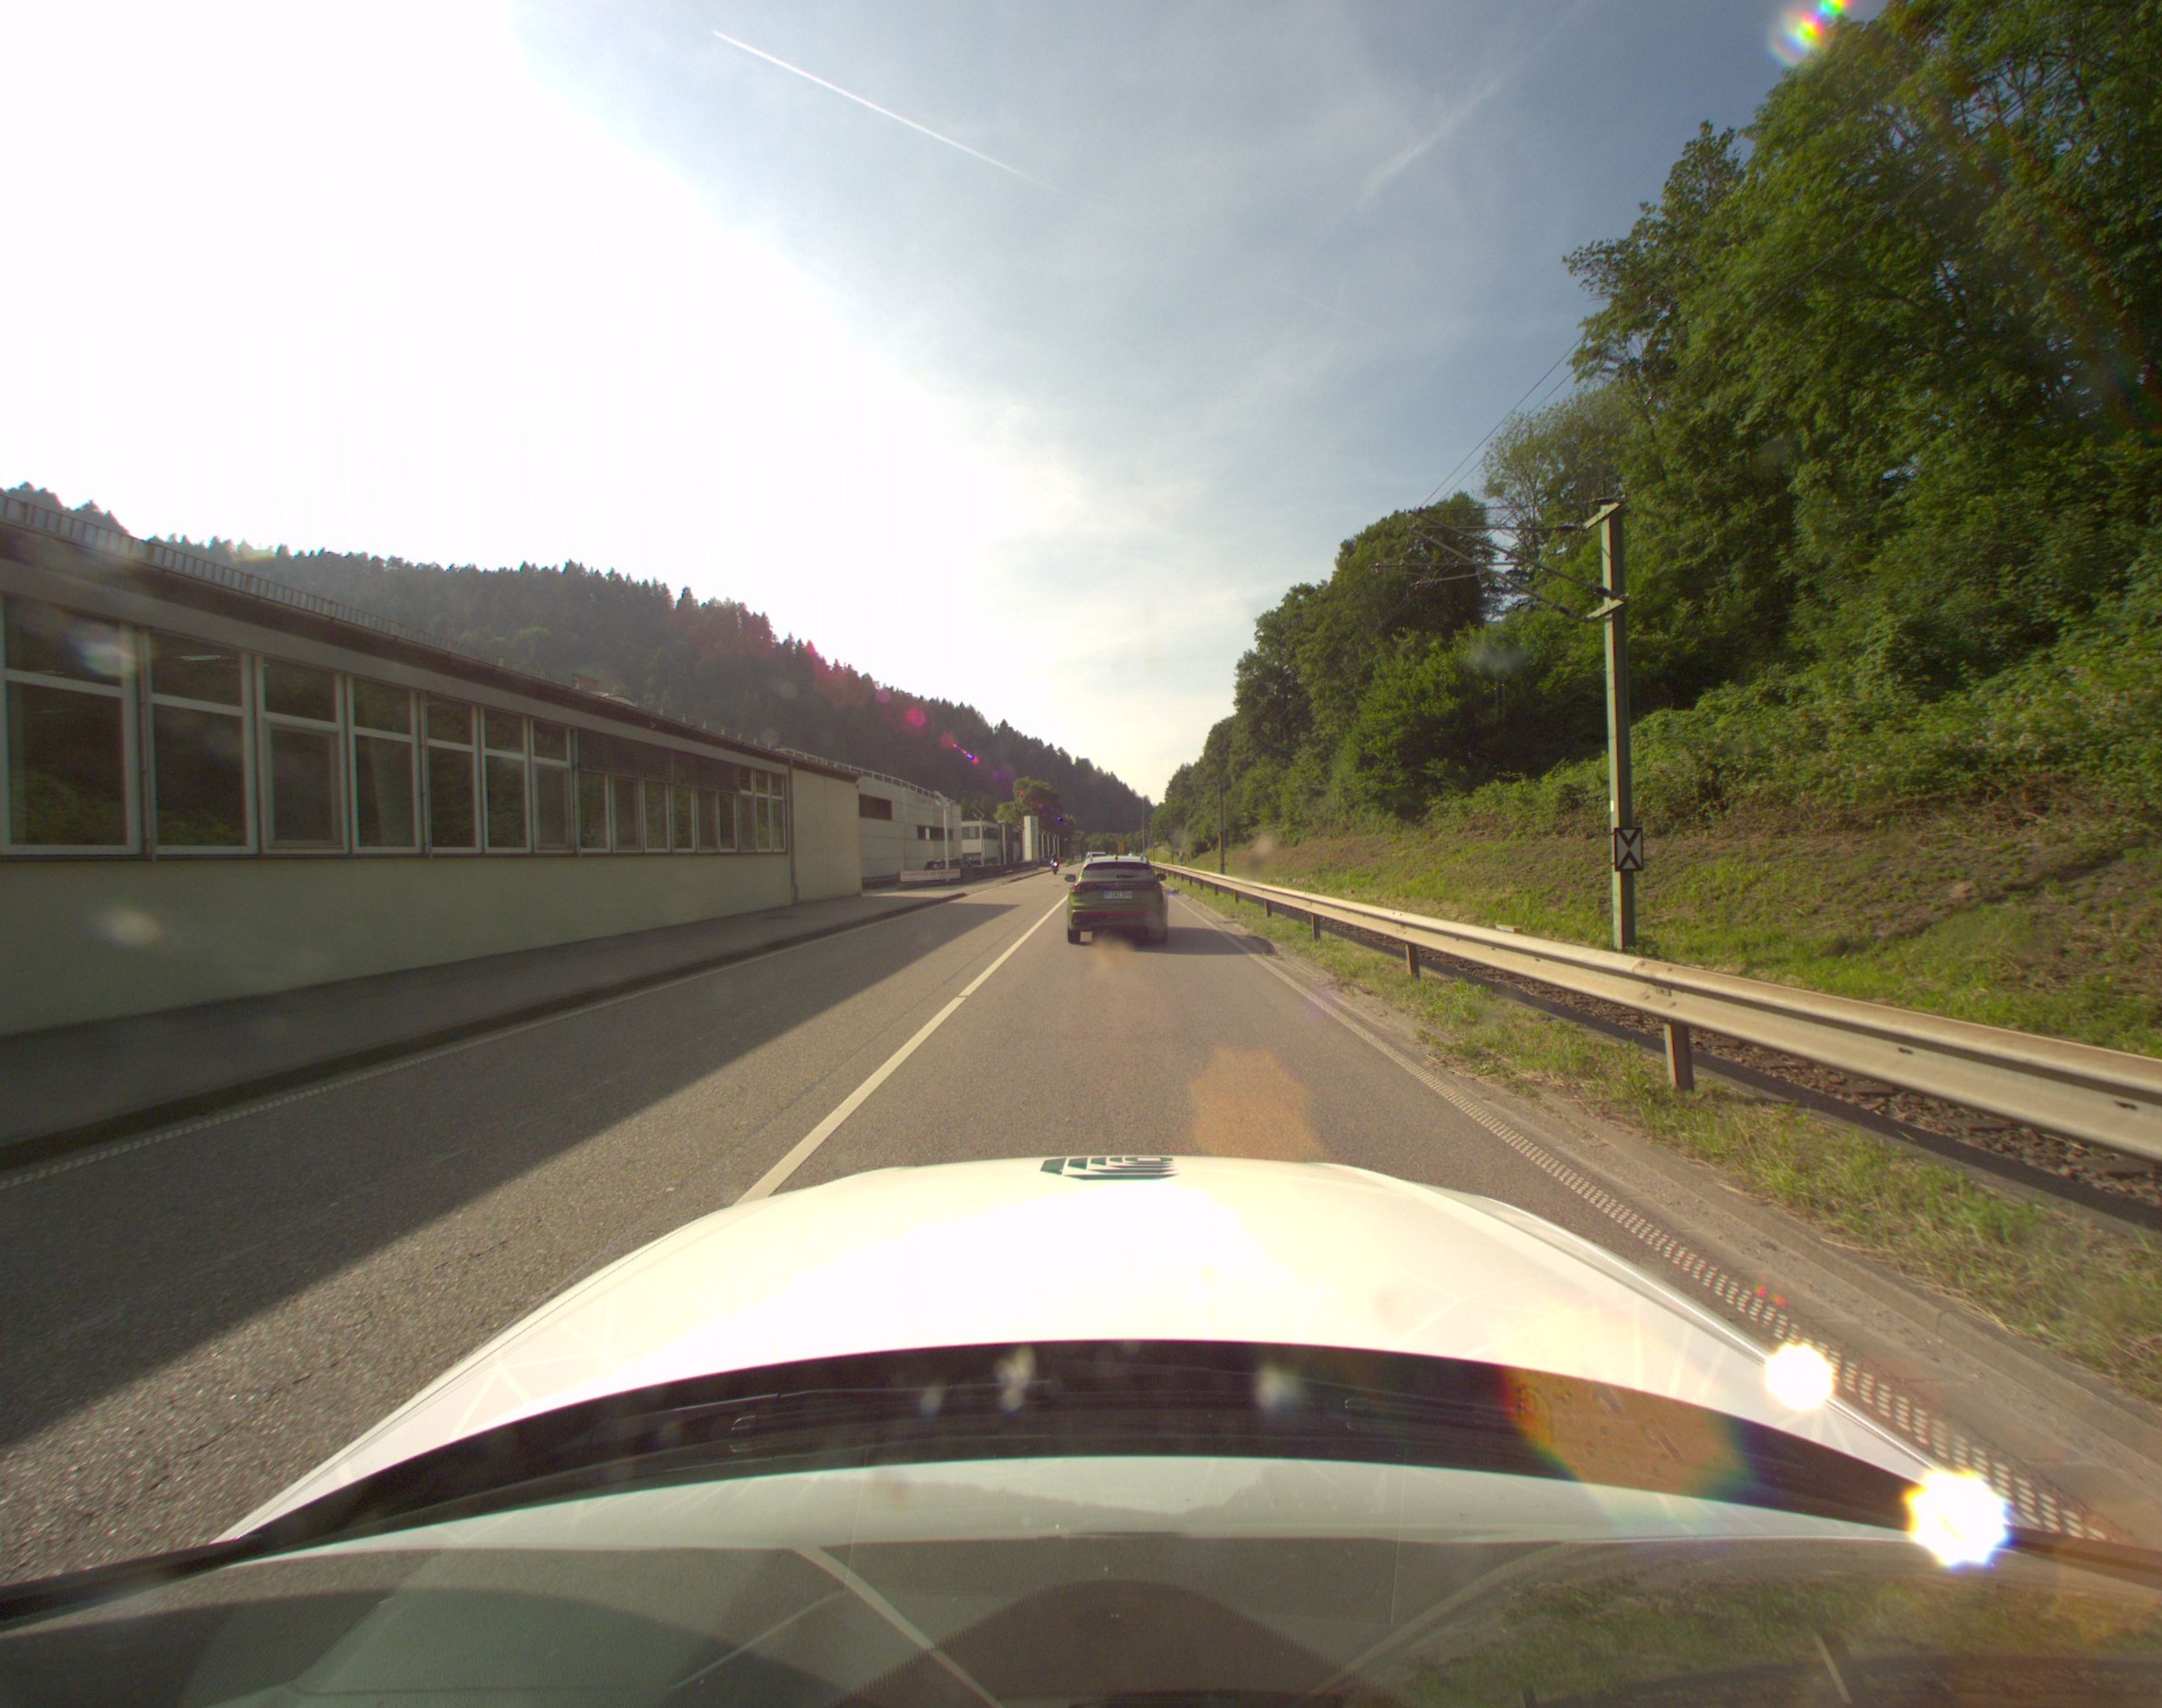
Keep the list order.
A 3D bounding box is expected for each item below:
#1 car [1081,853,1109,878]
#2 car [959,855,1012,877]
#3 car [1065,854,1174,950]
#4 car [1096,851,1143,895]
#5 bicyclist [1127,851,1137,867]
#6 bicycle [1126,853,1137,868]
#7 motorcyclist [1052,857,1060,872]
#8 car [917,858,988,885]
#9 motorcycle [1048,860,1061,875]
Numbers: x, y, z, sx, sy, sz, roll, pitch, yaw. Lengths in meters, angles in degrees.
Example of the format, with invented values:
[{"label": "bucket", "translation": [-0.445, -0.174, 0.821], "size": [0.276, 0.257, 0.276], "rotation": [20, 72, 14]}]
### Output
[{"label": "car", "translation": [0.953, 0.727, 53.954], "size": [1.733, 1.602, 4.001], "rotation": [-1, 0, 1]}, {"label": "car", "translation": [-7.870, 0.989, 67.457], "size": [1.759, 1.708, 4.135], "rotation": [-2, 0, 43]}, {"label": "car", "translation": [0.662, 0.776, 15.107], "size": [1.733, 1.508, 4.001], "rotation": [-1, 0, 1]}, {"label": "car", "translation": [1.472, 0.715, 32.371], "size": [1.733, 1.602, 4.001], "rotation": [-1, 0, 1]}, {"label": "bicyclist", "translation": [4.395, 0.437, 70.662], "size": [0.779, 1.412, 0.675], "rotation": [-2, 0, 0]}, {"label": "bicycle", "translation": [4.396, 0.590, 70.562], "size": [0.809, 1.250, 2.122], "rotation": [-2, 0, 0]}, {"label": "motorcyclist", "translation": [-1.914, 0.804, 62.134], "size": [0.583, 1.124, 0.637], "rotation": [-1, 0, 2]}, {"label": "car", "translation": [-8.220, 1.108, 52.297], "size": [1.865, 1.591, 4.200], "rotation": [-2, 0, 43]}, {"label": "motorcycle", "translation": [-2.000, 0.974, 61.355], "size": [0.738, 1.068, 2.493], "rotation": [-1, 0, 2]}]
